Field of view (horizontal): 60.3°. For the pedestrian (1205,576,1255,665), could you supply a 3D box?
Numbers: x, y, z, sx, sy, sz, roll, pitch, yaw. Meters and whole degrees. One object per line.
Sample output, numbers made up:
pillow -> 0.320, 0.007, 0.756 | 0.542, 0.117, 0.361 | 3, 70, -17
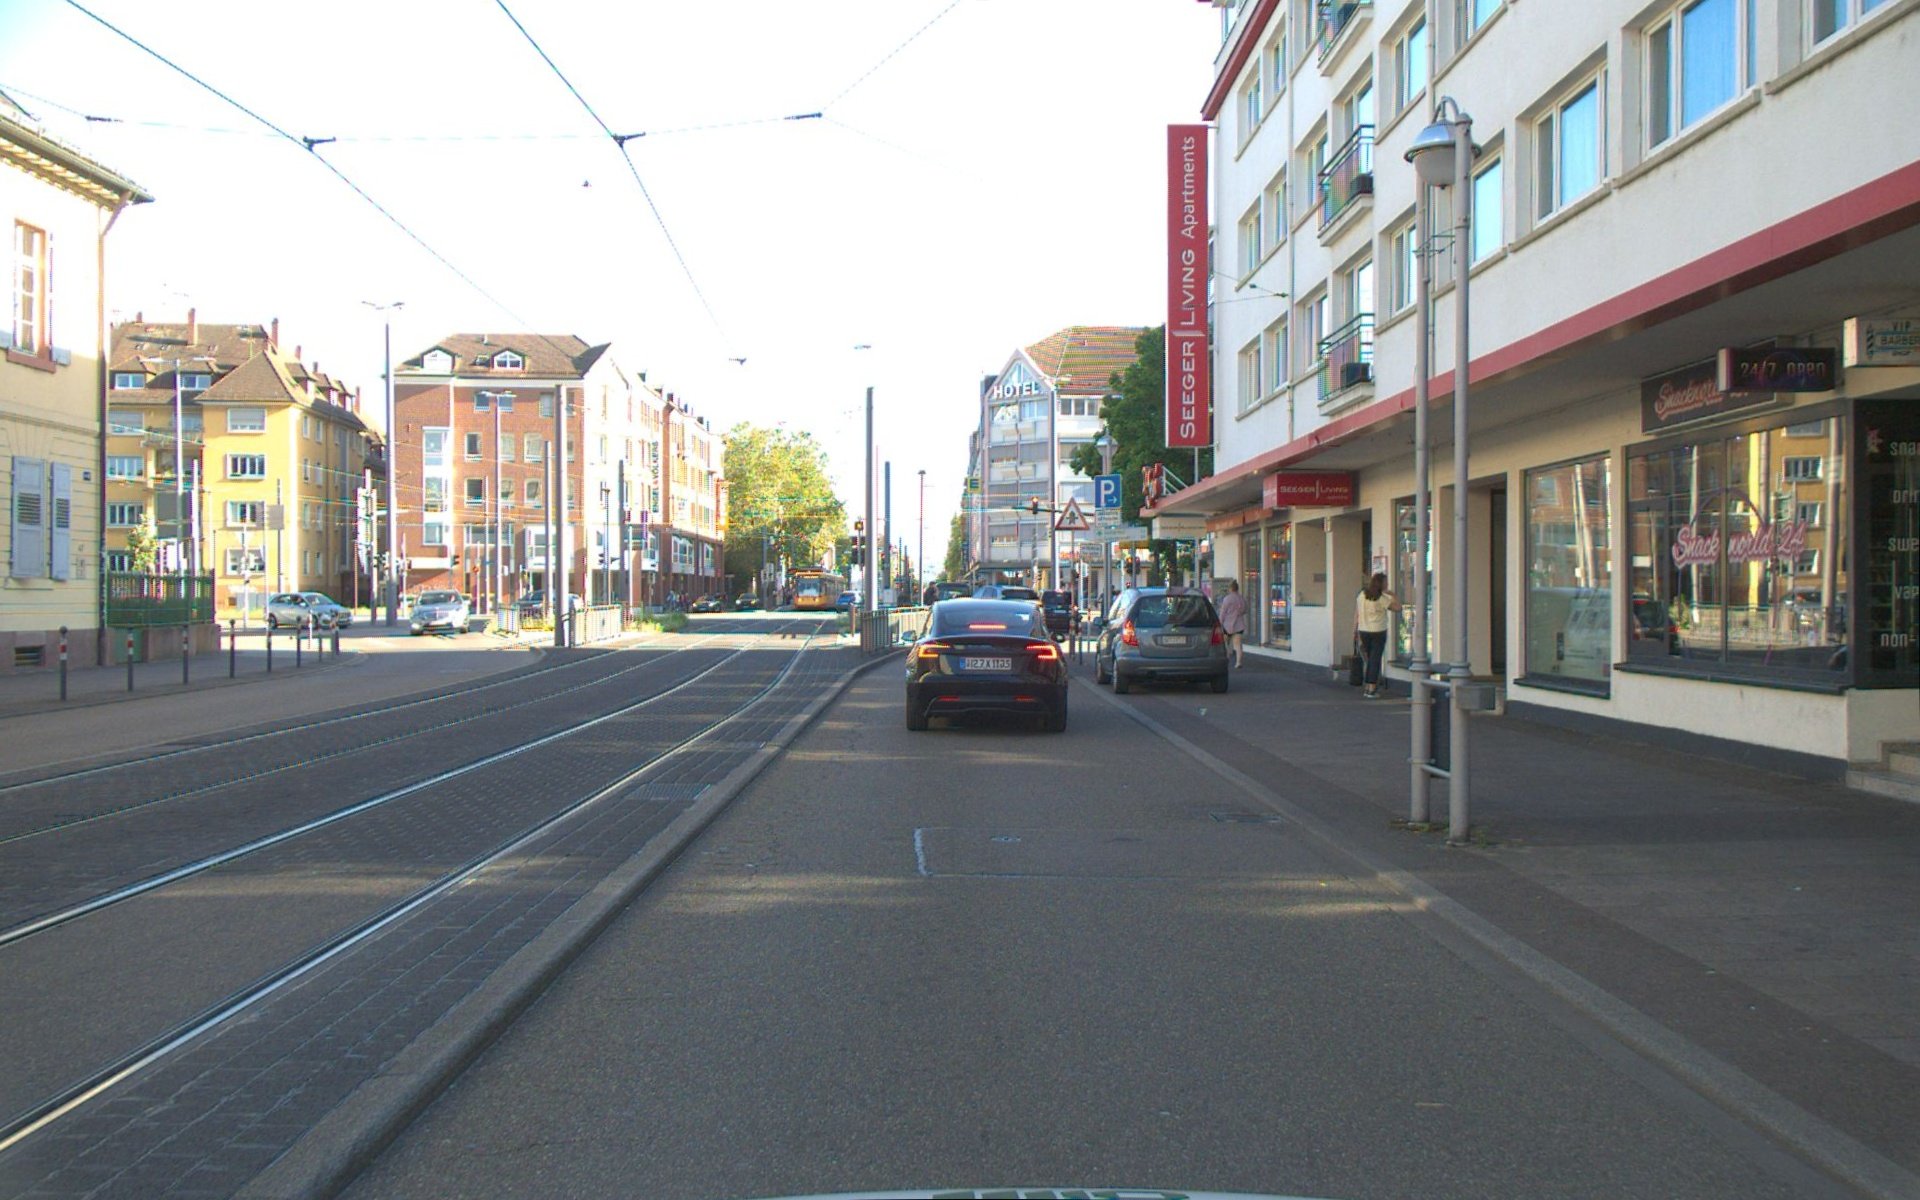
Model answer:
pedestrian -> 5.331, 0.407, 32.650 | 0.800, 1.712, 0.714 | 2, -1, 23

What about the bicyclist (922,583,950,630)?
bicyclist -> -0.795, 0.203, 54.804 | 0.820, 1.526, 0.559 | 2, -1, -8

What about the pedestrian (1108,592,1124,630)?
pedestrian -> 6.752, 0.467, 71.464 | 0.616, 1.642, 0.643 | 1, 0, 3

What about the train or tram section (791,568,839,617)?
train or tram section -> -11.858, -0.545, 136.781 | 2.620, 3.780, 14.191 | 2, 0, 0

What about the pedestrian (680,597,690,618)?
pedestrian -> -22.902, 0.646, 137.723 | 0.698, 1.696, 0.563 | 2, -1, -9

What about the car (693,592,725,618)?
car -> -20.654, 0.405, 136.045 | 1.953, 2.049, 4.000 | 2, 0, 0

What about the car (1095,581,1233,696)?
car -> 3.158, 0.552, 26.244 | 1.709, 1.660, 3.648 | -1, 0, 0

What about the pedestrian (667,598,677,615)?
pedestrian -> -22.997, 0.505, 131.915 | 0.682, 1.331, 0.564 | 0, 0, -2

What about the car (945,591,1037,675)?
car -> 0.560, 0.584, 31.595 | 1.619, 1.443, 4.000 | 2, 1, 0

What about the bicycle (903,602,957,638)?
bicycle -> -1.001, 0.662, 54.750 | 1.696, 1.107, 0.677 | 2, -1, -9

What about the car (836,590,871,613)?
car -> -7.231, 0.120, 112.794 | 1.952, 1.445, 4.001 | 2, 0, 2

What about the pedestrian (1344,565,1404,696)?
pedestrian -> 5.834, 0.420, 23.340 | 0.786, 1.805, 0.933 | 0, -1, 13

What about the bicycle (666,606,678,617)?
bicycle -> -22.999, 0.934, 132.111 | 0.688, 0.870, 2.053 | 0, 0, -1

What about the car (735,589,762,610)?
car -> -17.725, -0.051, 139.026 | 1.715, 1.680, 4.000 | 2, 0, 0

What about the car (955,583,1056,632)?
car -> 1.517, 0.241, 56.820 | 1.761, 1.545, 4.184 | 2, 0, -25

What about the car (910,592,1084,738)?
car -> 0.341, 0.701, 19.454 | 1.811, 1.510, 3.786 | 1, 0, -2

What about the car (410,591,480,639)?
car -> -17.351, 0.484, 55.908 | 1.848, 1.522, 4.913 | -1, 0, -13

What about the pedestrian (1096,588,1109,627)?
pedestrian -> 6.353, 0.344, 73.785 | 0.550, 1.712, 0.750 | 1, 0, 4

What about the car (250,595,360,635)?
car -> -28.971, 0.666, 73.131 | 4.501, 1.583, 1.815 | 2, 0, 24

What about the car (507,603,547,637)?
car -> -20.322, 0.929, 77.682 | 1.734, 1.538, 4.265 | 0, 0, -14

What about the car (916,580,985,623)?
car -> -0.398, 0.055, 65.084 | 1.793, 1.545, 4.204 | 2, 0, -13

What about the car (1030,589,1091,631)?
car -> 3.950, 0.380, 65.517 | 1.789, 1.545, 3.645 | 2, 0, -6
